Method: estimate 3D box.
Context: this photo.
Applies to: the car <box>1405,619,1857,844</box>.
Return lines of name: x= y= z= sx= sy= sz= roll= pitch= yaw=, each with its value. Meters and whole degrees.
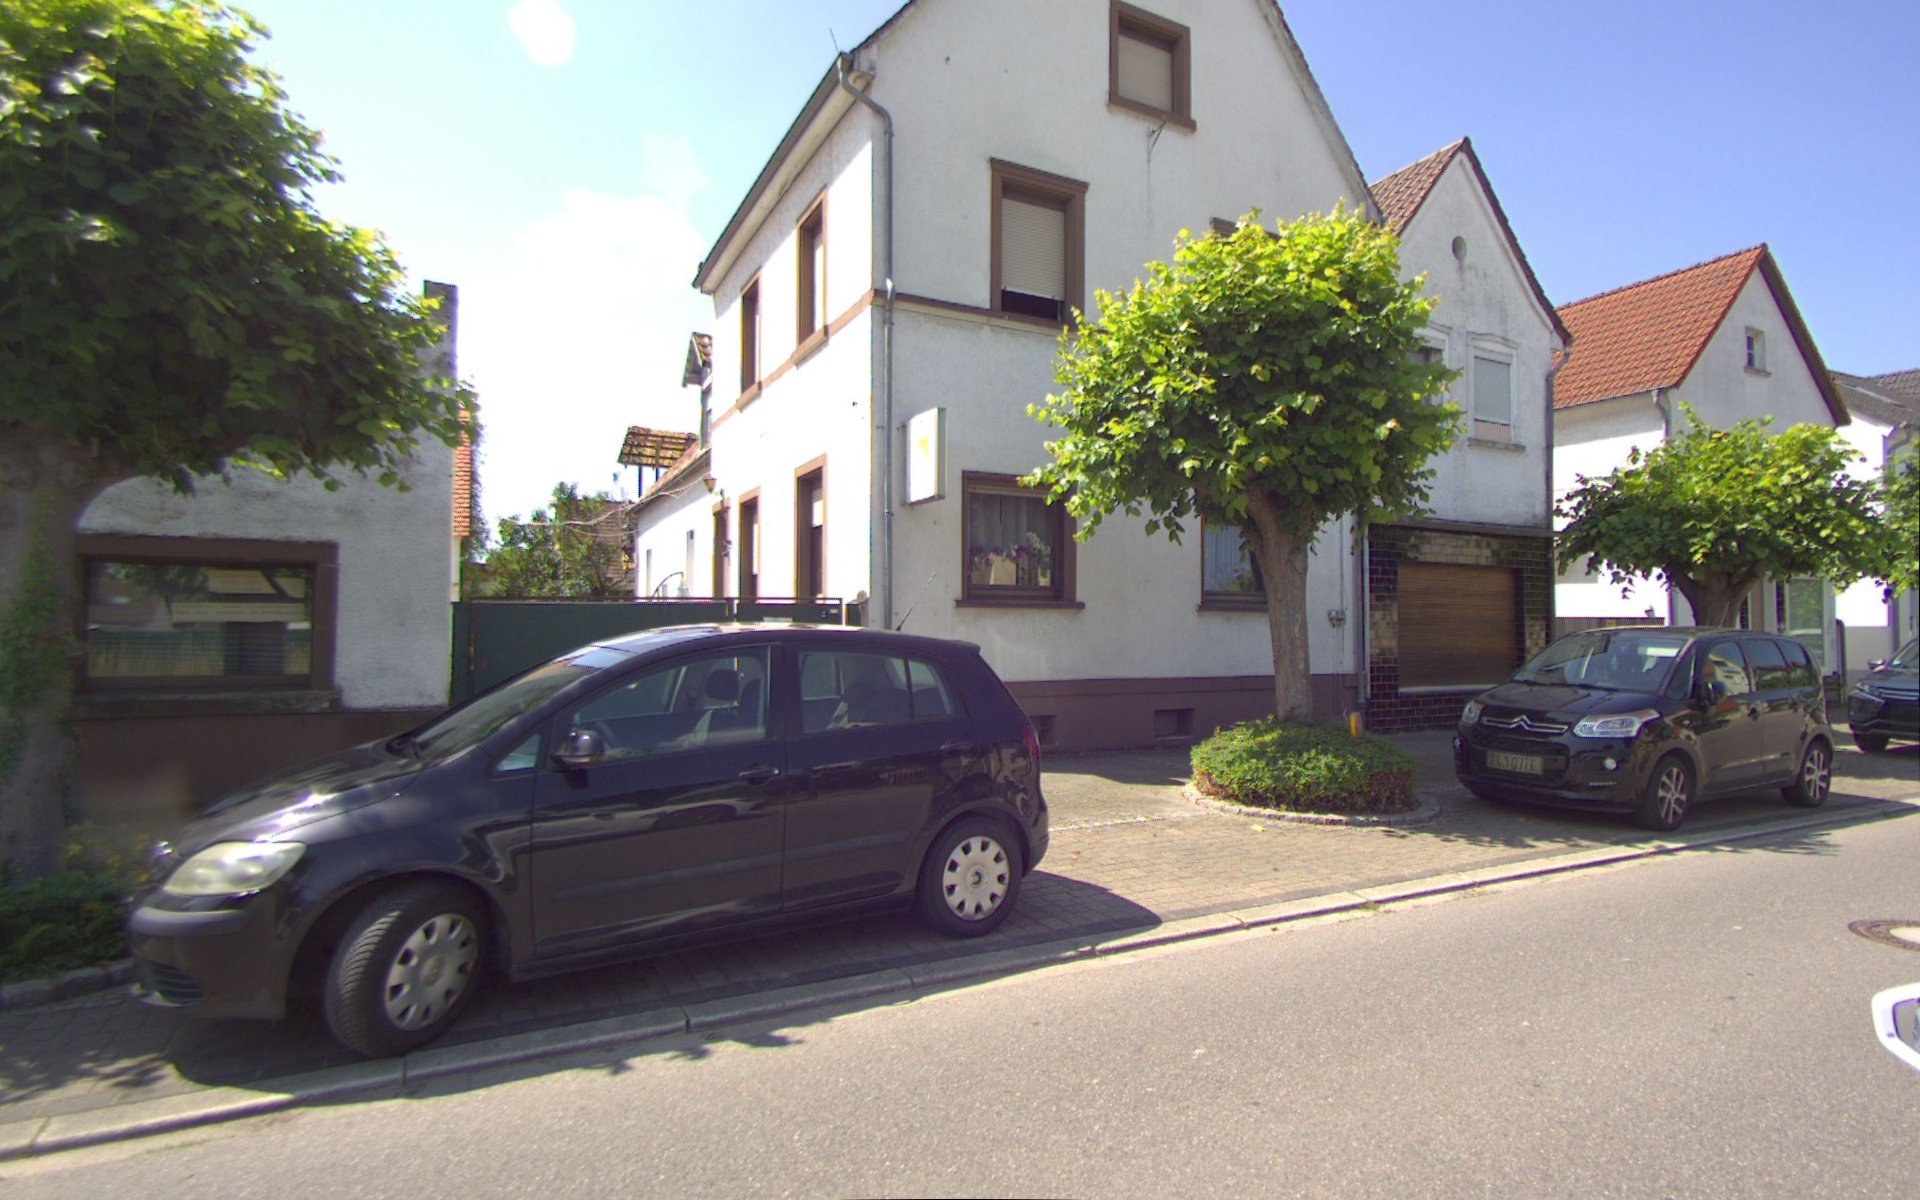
car: x=6.265 y=1.064 z=9.325 sx=4.007 sy=1.657 sz=1.845 roll=2 pitch=-1 yaw=-29

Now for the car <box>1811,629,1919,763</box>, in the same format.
car: x=13.901 y=1.271 z=13.947 sx=4.319 sy=1.674 sz=1.983 roll=1 pitch=-1 yaw=-32

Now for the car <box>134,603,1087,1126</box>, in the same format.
car: x=-1.449 y=0.895 z=5.046 sx=3.959 sy=1.655 sz=1.775 roll=2 pitch=-1 yaw=-34
